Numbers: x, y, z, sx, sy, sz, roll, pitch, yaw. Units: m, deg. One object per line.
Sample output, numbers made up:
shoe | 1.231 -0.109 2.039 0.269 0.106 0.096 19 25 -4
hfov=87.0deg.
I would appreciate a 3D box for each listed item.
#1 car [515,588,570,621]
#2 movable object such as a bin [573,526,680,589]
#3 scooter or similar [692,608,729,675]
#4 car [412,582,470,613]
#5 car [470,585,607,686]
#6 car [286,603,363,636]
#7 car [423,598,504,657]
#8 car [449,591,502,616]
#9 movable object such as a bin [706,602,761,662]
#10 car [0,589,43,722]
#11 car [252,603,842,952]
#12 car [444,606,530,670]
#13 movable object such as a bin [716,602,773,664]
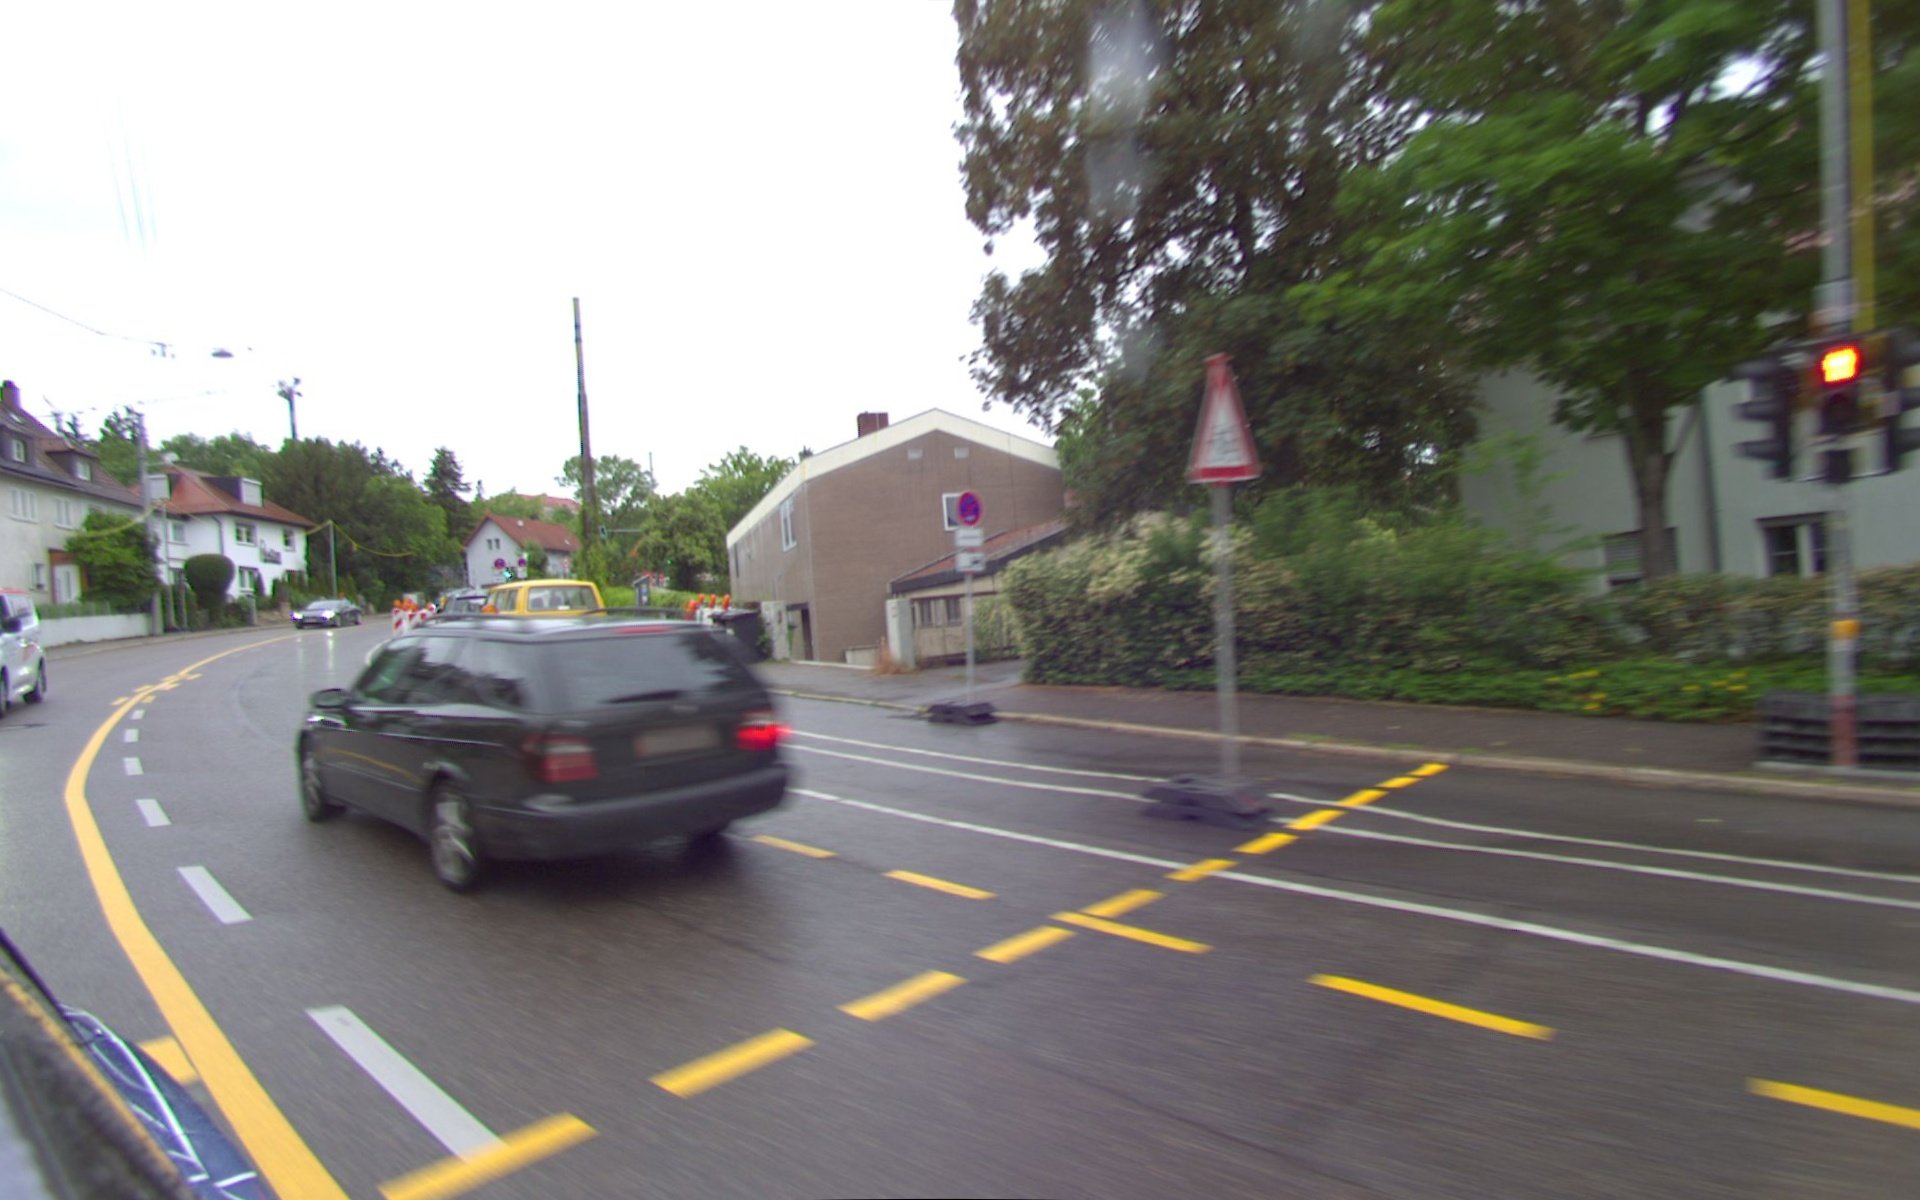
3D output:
car | -25.196 0.250 61.239 1.783 1.814 4.469 -2 1 -5
movable object such as a bin | -37.107 -4.745 113.096 8.953 6.600 7.020 -1 2 9
scooter or similar | -5.150 0.828 20.840 0.393 1.269 1.322 -6 4 -25
car | -36.017 -0.178 70.308 1.987 1.954 4.002 -2 2 -1
car | -9.240 0.689 21.952 1.779 1.942 4.589 -1 1 -35
car | -32.822 0.961 52.400 1.957 1.447 4.527 -3 2 -13
car | -15.521 0.804 31.515 1.696 1.620 4.475 -3 2 -33
car | -32.321 0.199 67.674 1.768 1.501 4.679 -3 1 -8
movable object such as a bin | -4.642 0.632 20.756 0.847 1.148 0.714 -3 3 -37
car | -15.557 0.852 15.194 2.009 1.953 4.527 -1 -1 -34
car | -2.961 0.819 6.575 4.682 1.472 1.681 -2 0 42
car | -12.502 0.935 26.648 1.553 1.465 3.474 -2 2 -33
movable object such as a bin | -4.272 0.647 20.093 0.847 1.148 0.714 -3 3 -37
